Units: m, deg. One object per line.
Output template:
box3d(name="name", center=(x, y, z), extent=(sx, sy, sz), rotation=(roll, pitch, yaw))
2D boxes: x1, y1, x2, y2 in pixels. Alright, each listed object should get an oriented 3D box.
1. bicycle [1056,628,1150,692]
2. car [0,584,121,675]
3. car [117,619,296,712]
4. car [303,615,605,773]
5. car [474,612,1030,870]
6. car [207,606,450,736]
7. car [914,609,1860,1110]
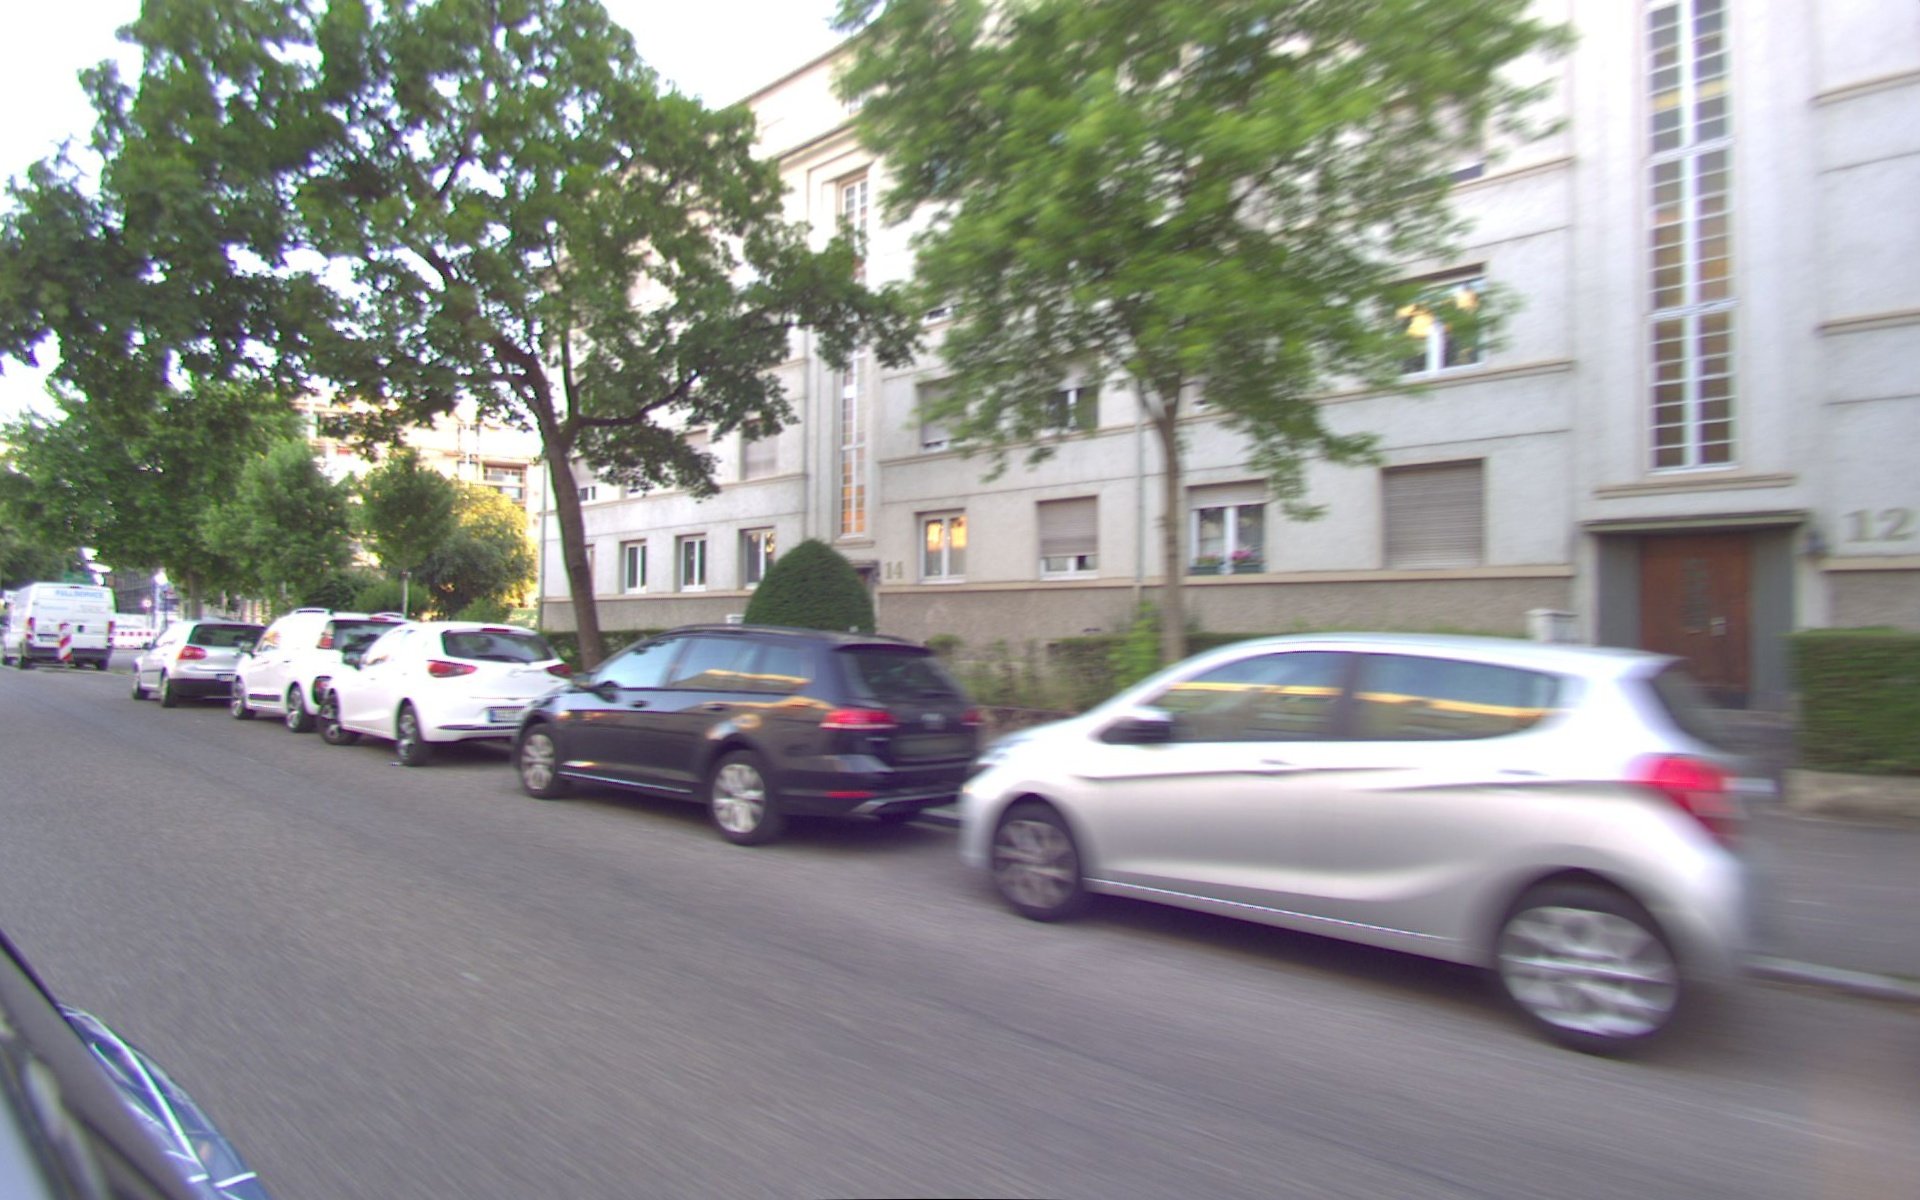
box3d(name="bicycle", center=(2.725, 1.135, 19.477), extent=(1.817, 1.181, 0.550), rotation=(-1, -3, 44))
box3d(name="car", center=(-27.973, 0.938, 31.202), extent=(6.100, 2.480, 2.156), rotation=(-1, -5, 41))
box3d(name="car", center=(-13.643, 1.146, 18.232), extent=(4.223, 1.483, 1.733), rotation=(-2, -5, 42))
box3d(name="car", center=(-5.896, 0.995, 11.597), extent=(3.944, 1.491, 1.733), rotation=(-2, -6, 43))
box3d(name="car", center=(-1.862, 0.916, 8.047), extent=(4.674, 1.491, 1.735), rotation=(-1, -5, 40))
box3d(name="car", center=(-9.327, 1.003, 14.823), extent=(4.104, 1.644, 1.735), rotation=(-1, -5, 40))
box3d(name="car", center=(1.731, 0.854, 4.829), extent=(3.701, 1.471, 1.658), rotation=(-1, -5, 39))
